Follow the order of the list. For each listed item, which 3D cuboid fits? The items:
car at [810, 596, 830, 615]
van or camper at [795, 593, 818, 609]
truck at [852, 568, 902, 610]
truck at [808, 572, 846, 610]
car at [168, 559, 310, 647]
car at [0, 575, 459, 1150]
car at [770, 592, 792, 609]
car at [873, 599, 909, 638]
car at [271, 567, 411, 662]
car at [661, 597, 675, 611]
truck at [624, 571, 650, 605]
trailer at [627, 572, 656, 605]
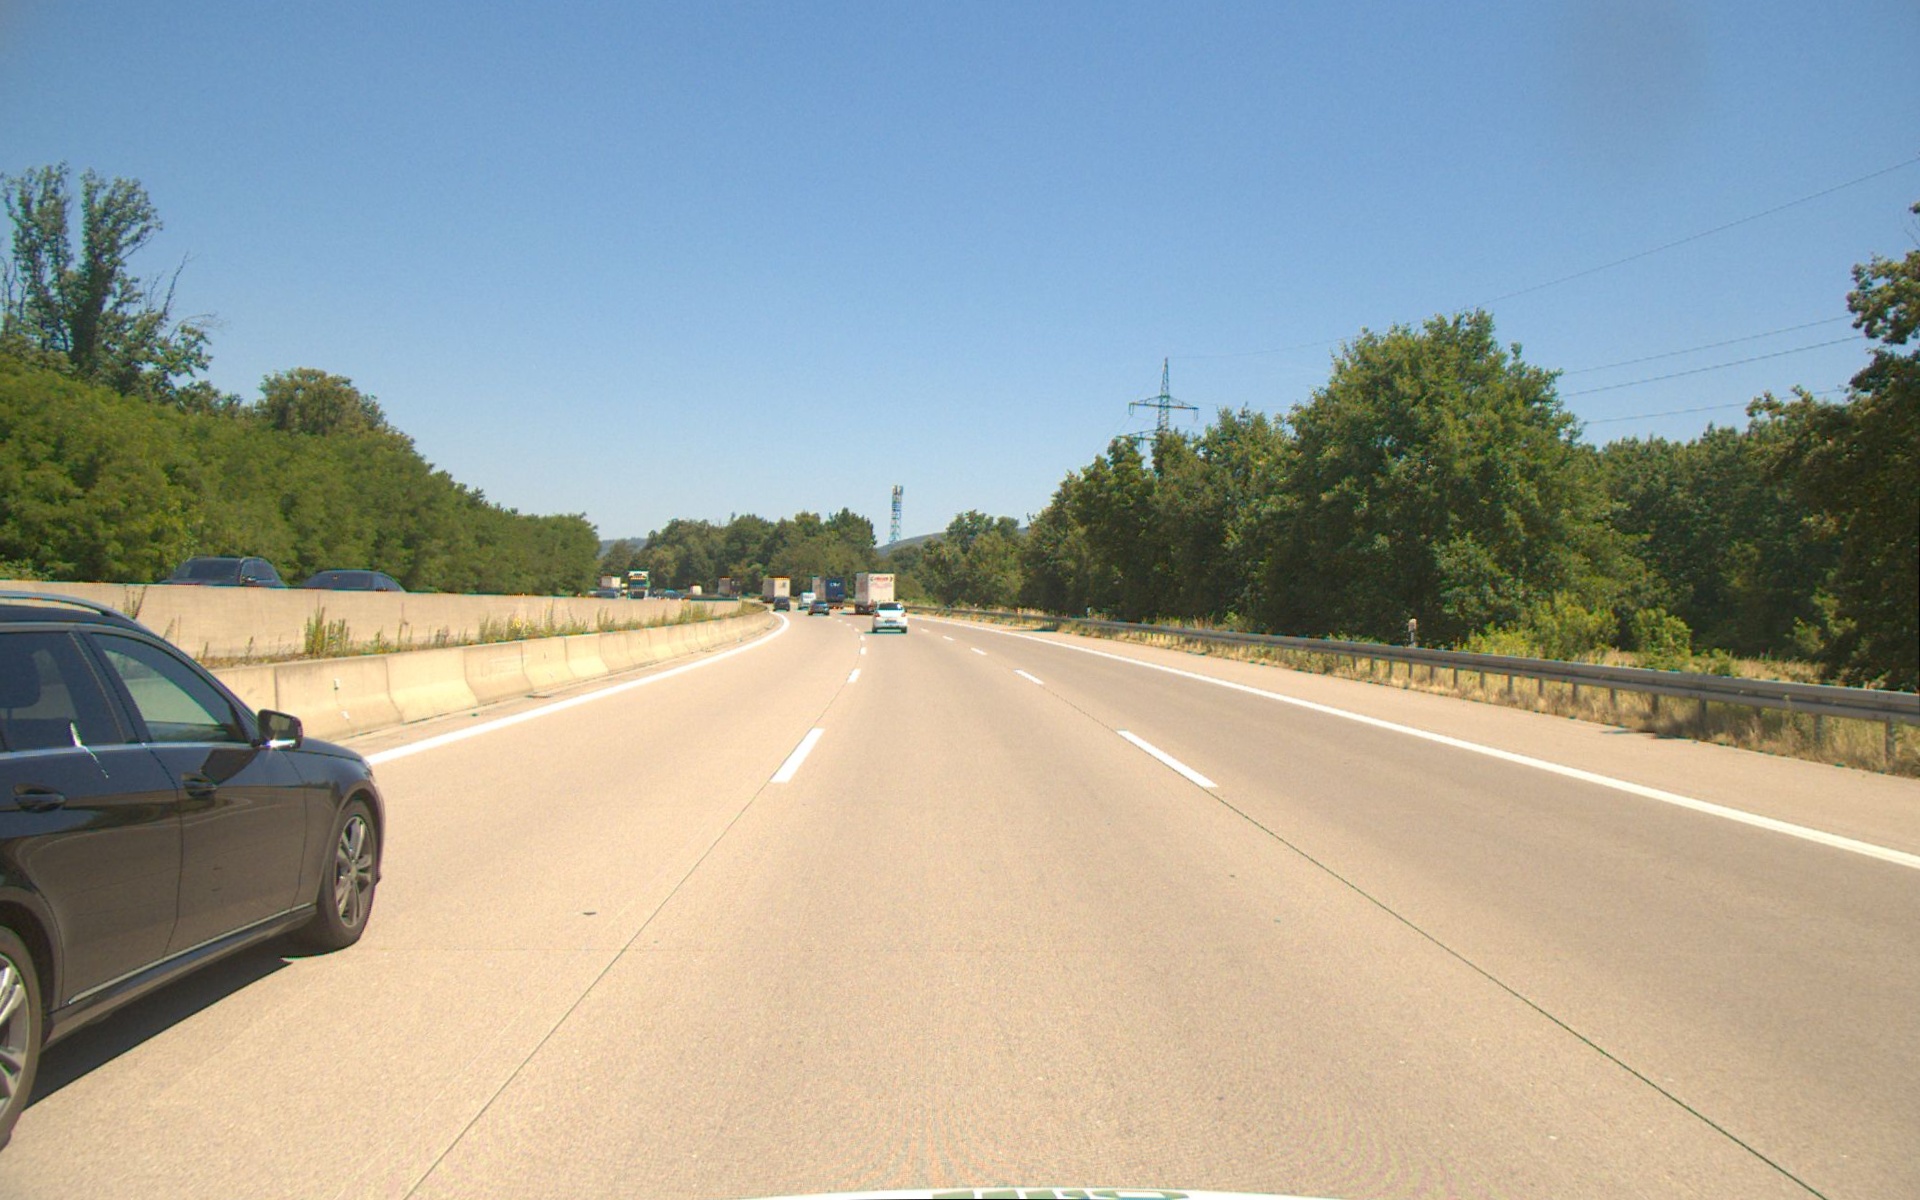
[{"bbox_3d":[-13.098,0.473,154.700,1.580,1.755,3.566,0,0,-9],"label":"car"},{"bbox_3d":[-18.662,0.139,201.417,1.840,1.870,3.977,0,0,-20],"label":"van or camper"},{"bbox_3d":[-8.240,-1.006,162.735,3.748,3.957,14.128,0,0,-8],"label":"truck"},{"bbox_3d":[-17.423,-1.119,215.521,3.836,4.824,14.018,0,0,-10],"label":"truck"},{"bbox_3d":[-17.116,0.062,39.473,1.625,1.956,4.137,1,0,-1],"label":"car"},{"bbox_3d":[-3.442,0.670,5.612,1.852,1.499,5.602,1,0,-1],"label":"car"},{"bbox_3d":[-19.910,0.043,184.025,1.986,1.729,3.990,6,0,-11],"label":"car"},{"bbox_3d":[-3.396,0.897,81.871,1.609,1.690,3.358,5,0,-3],"label":"car"},{"bbox_3d":[-13.632,0.309,36.659,1.625,1.956,4.005,1,0,-1],"label":"car"},{"bbox_3d":[-43.097,0.562,244.419,1.827,2.049,3.993,0,0,-7],"label":"car"},{"bbox_3d":[-38.457,-1.392,196.795,2.614,4.004,5.960,0,0,-7],"label":"truck"},{"bbox_3d":[-39.376,-1.403,204.708,2.631,4.004,13.225,0,0,-7],"label":"trailer"}]
